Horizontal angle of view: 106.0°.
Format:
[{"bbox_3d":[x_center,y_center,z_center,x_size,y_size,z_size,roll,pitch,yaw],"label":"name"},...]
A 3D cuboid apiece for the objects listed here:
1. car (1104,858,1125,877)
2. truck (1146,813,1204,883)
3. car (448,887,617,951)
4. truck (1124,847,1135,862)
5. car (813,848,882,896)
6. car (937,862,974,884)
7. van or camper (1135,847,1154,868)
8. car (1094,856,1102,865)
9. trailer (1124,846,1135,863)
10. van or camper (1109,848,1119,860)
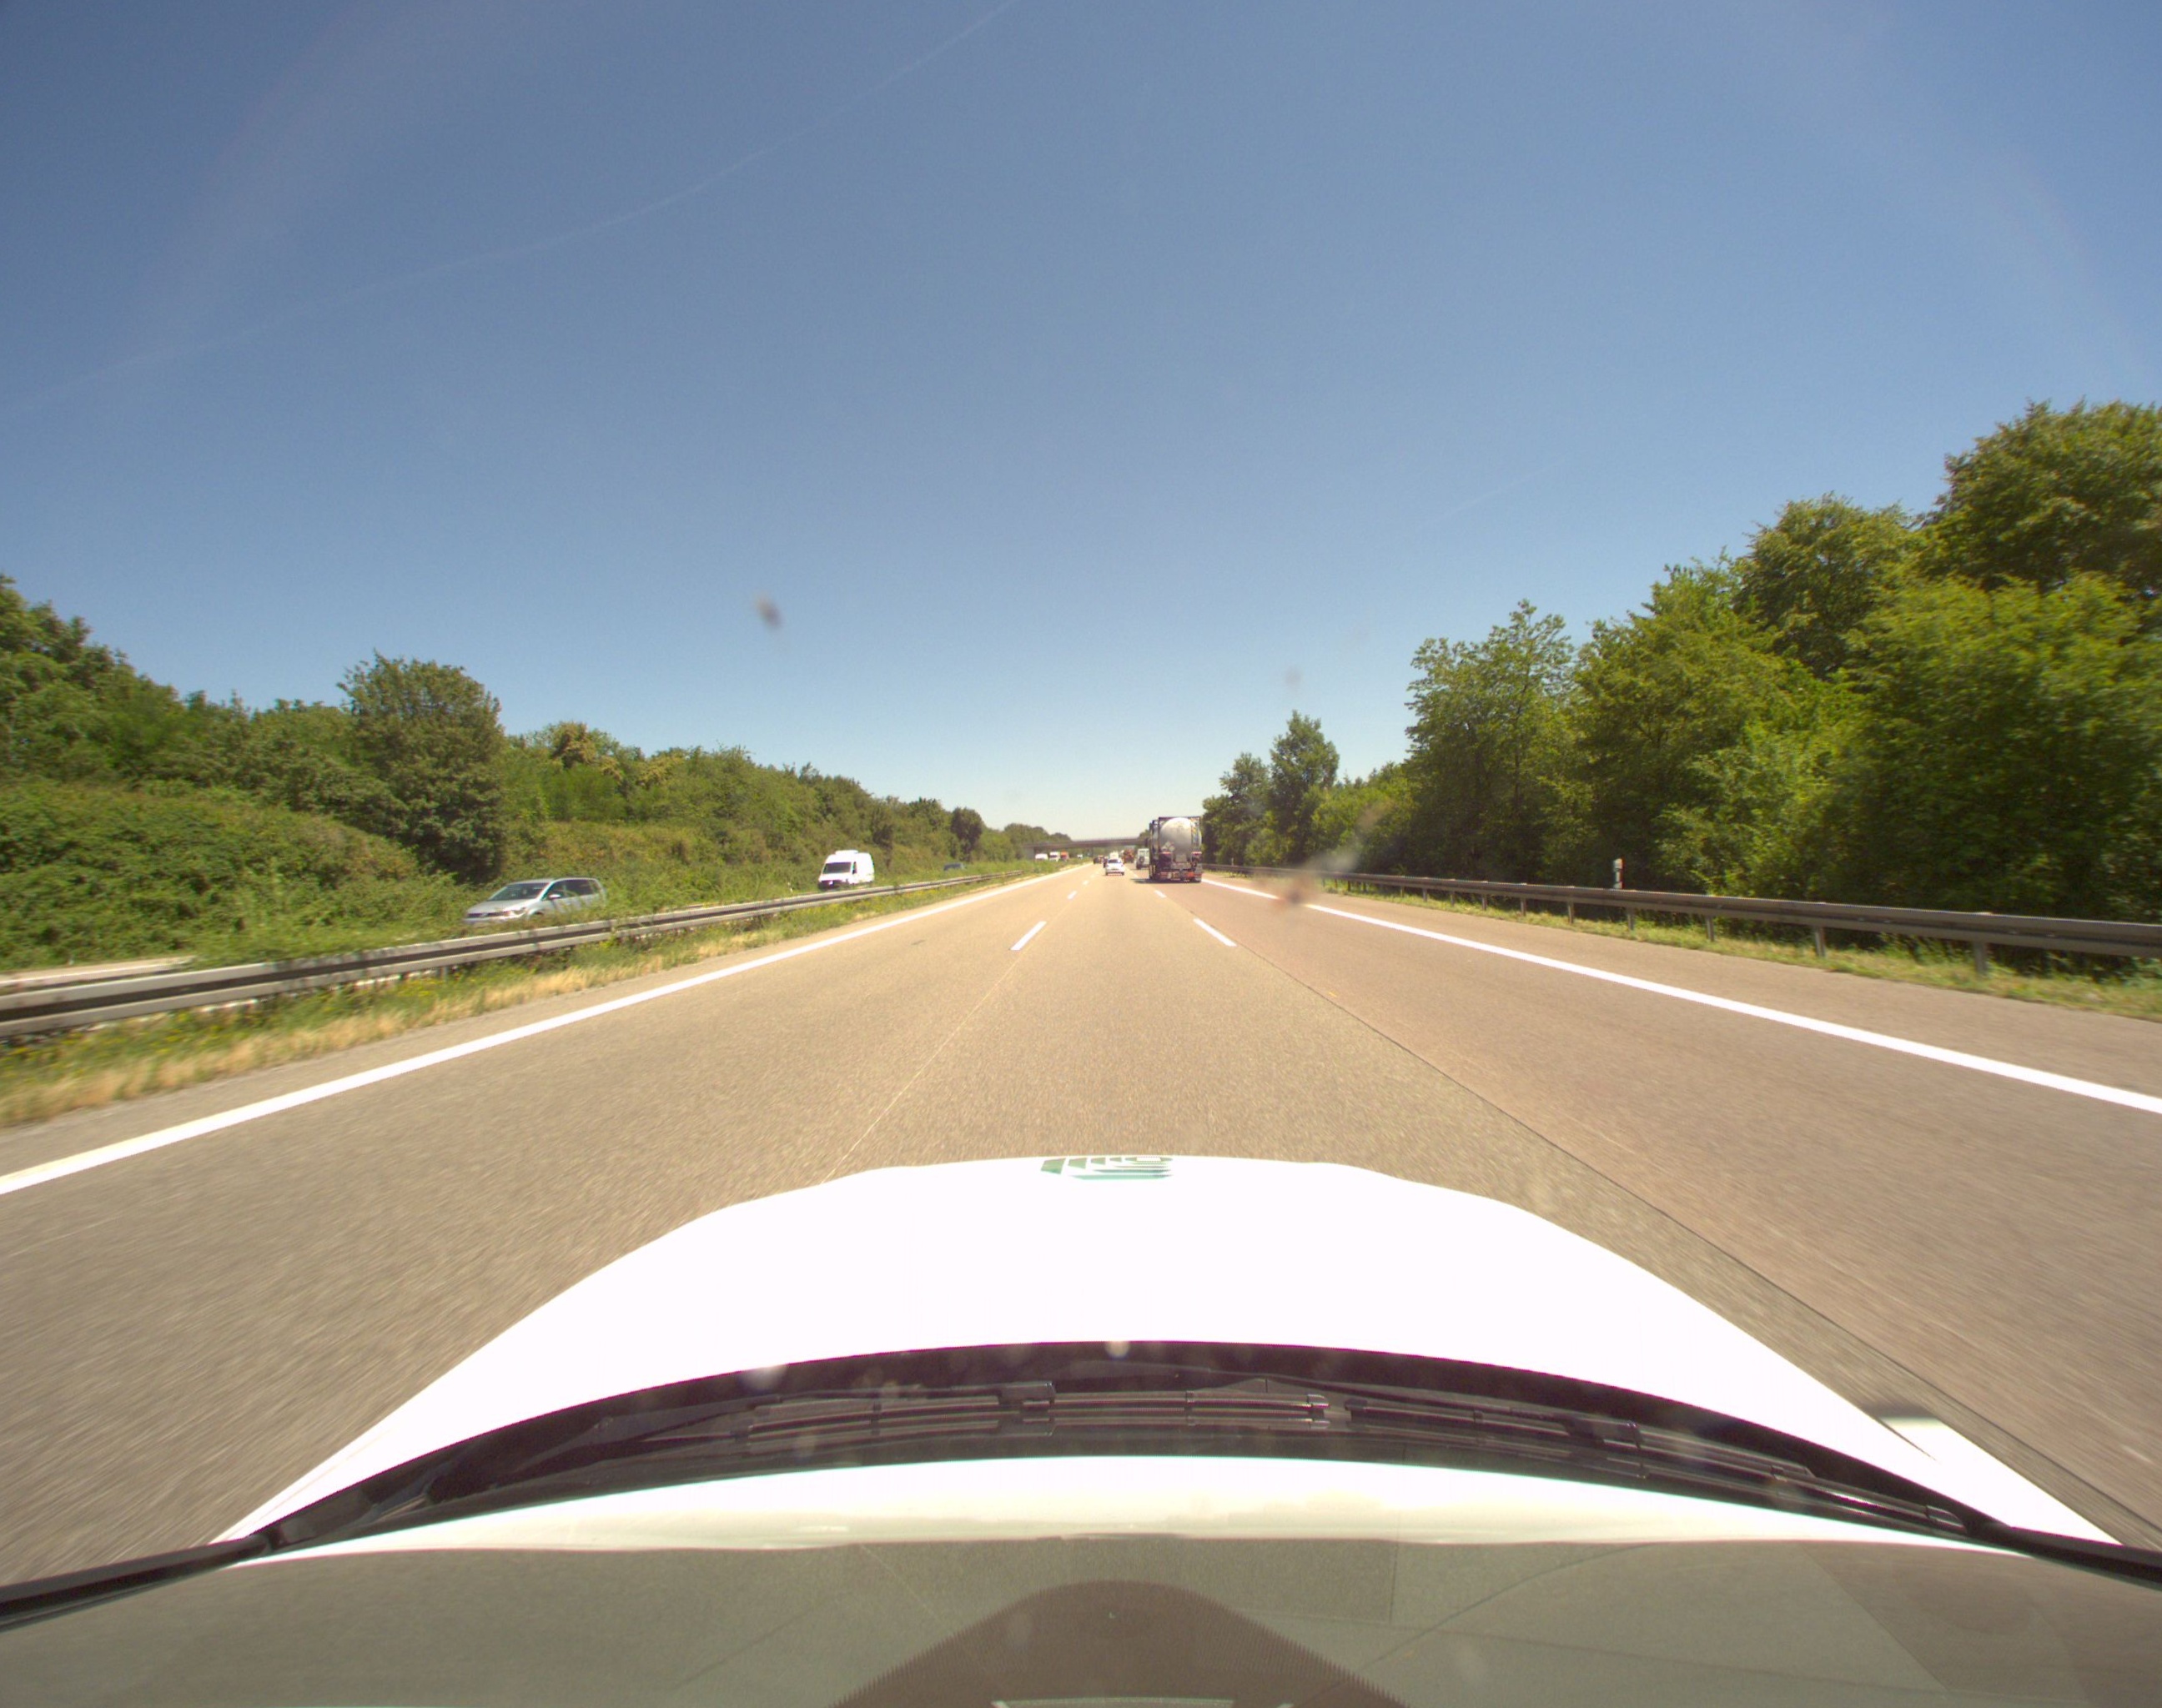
[{"bbox_3d":[3.042,1.225,74.014,1.850,1.652,4.001,0,0,2],"label":"car"},{"bbox_3d":[6.012,-0.306,53.920,2.788,4.046,13.361,0,0,2],"label":"truck"},{"bbox_3d":[-15.492,1.779,23.345,1.735,1.508,4.417,0,0,2],"label":"car"},{"bbox_3d":[12.788,0.187,213.749,2.658,3.994,6.641,-1,0,3],"label":"truck"},{"bbox_3d":[-14.519,1.080,51.128,2.028,2.746,6.660,-4,-1,2],"label":"car"},{"bbox_3d":[-9.991,1.479,65.312,1.986,1.567,5.046,-2,0,2],"label":"car"},{"bbox_3d":[8.202,0.482,106.004,2.105,2.703,6.370,-1,-1,2],"label":"van or camper"},{"bbox_3d":[4.060,1.613,194.361,2.044,2.014,4.178,0,-1,2],"label":"car"},{"bbox_3d":[12.332,0.137,206.509,2.642,3.958,13.648,-1,0,3],"label":"trailer"},{"bbox_3d":[7.174,-0.034,178.054,2.049,2.622,5.990,-1,-1,3],"label":"van or camper"}]
